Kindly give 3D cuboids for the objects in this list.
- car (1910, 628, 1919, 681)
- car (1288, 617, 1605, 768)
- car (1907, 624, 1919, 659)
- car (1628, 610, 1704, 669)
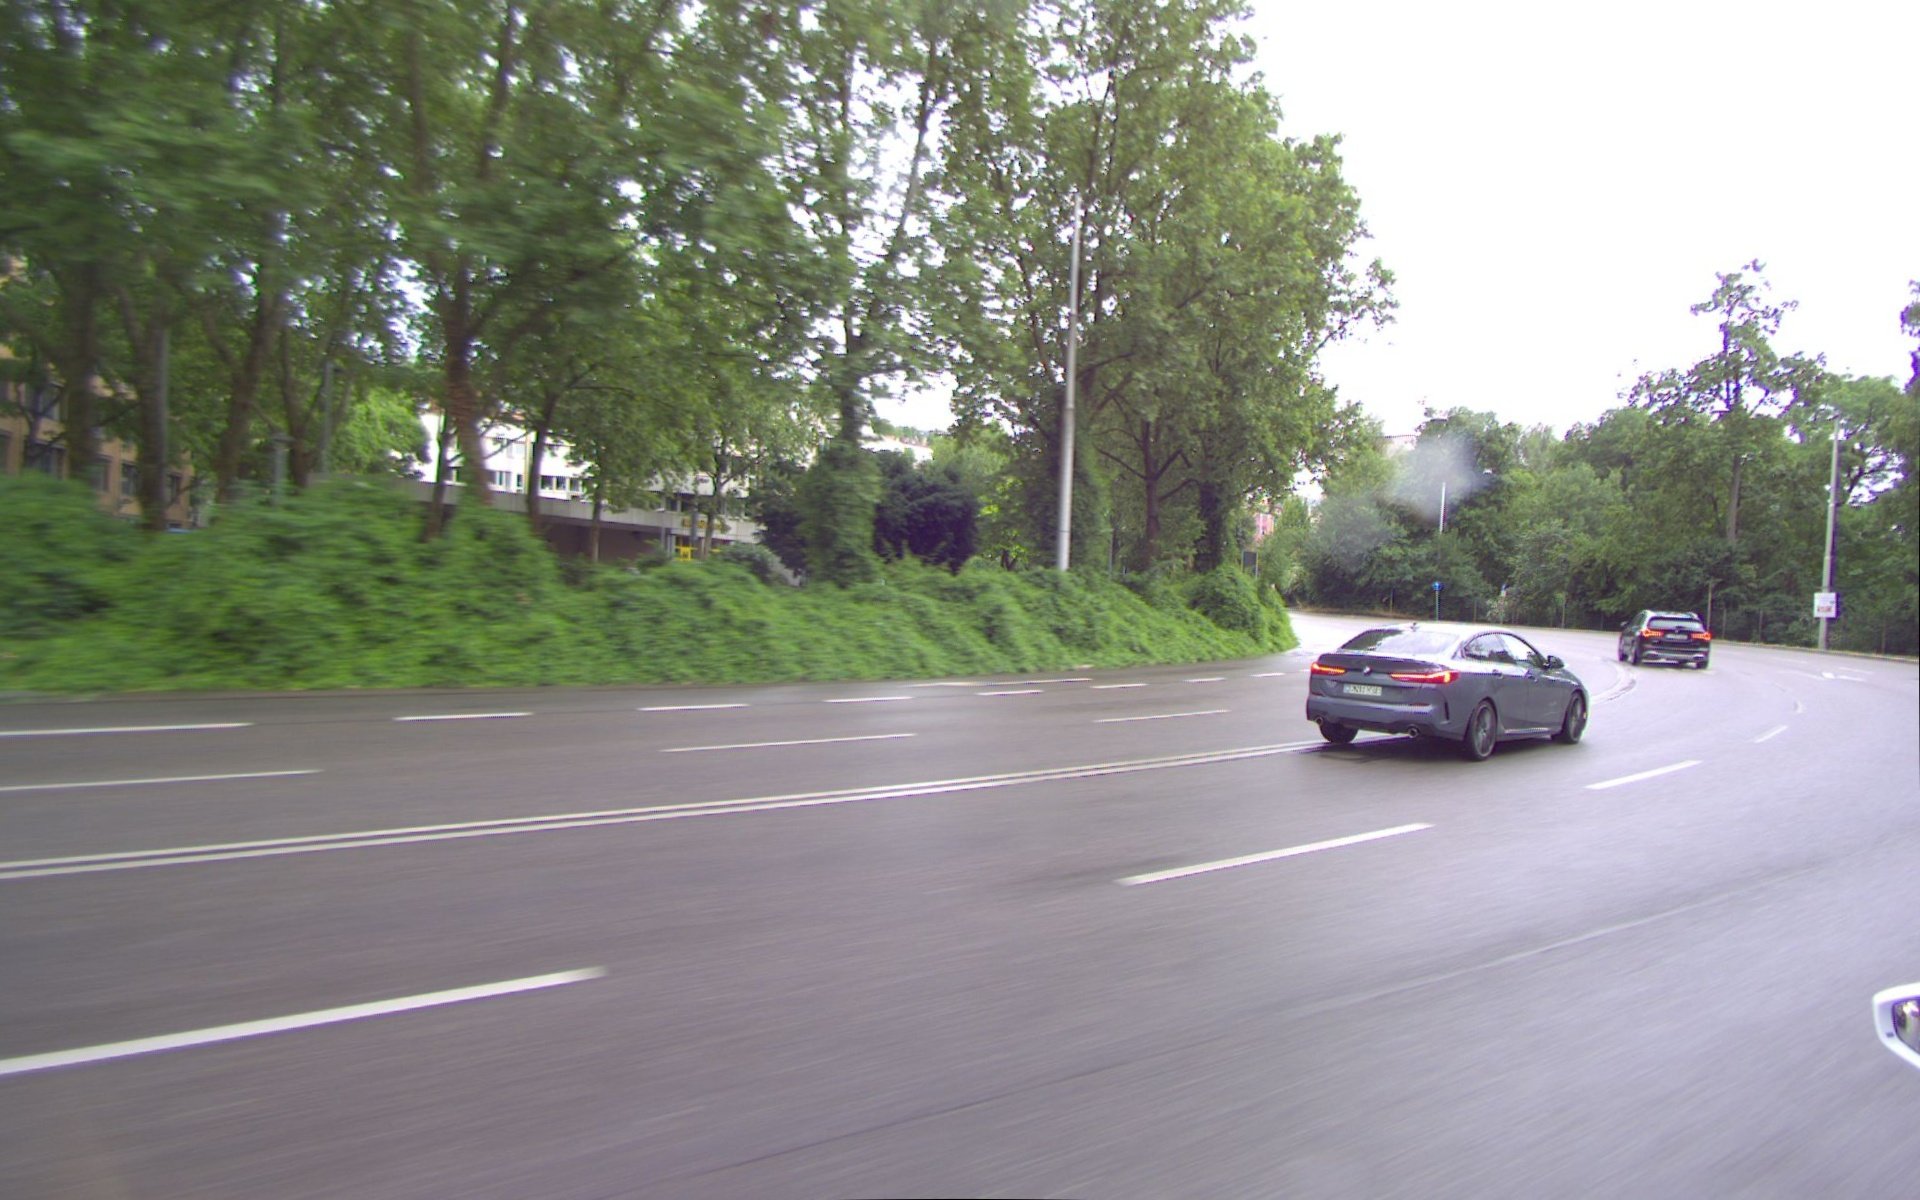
[{"bbox_3d":[26.092,1.444,25.538,1.731,1.451,4.405,0,-1,29],"label":"car"},{"bbox_3d":[5.878,0.957,11.877,4.501,1.434,1.651,1,0,-40],"label":"car"},{"bbox_3d":[40.420,1.824,40.223,1.659,1.445,4.372,5,2,15],"label":"car"},{"bbox_3d":[21.674,1.138,30.963,1.733,1.607,4.400,1,1,33],"label":"car"}]
